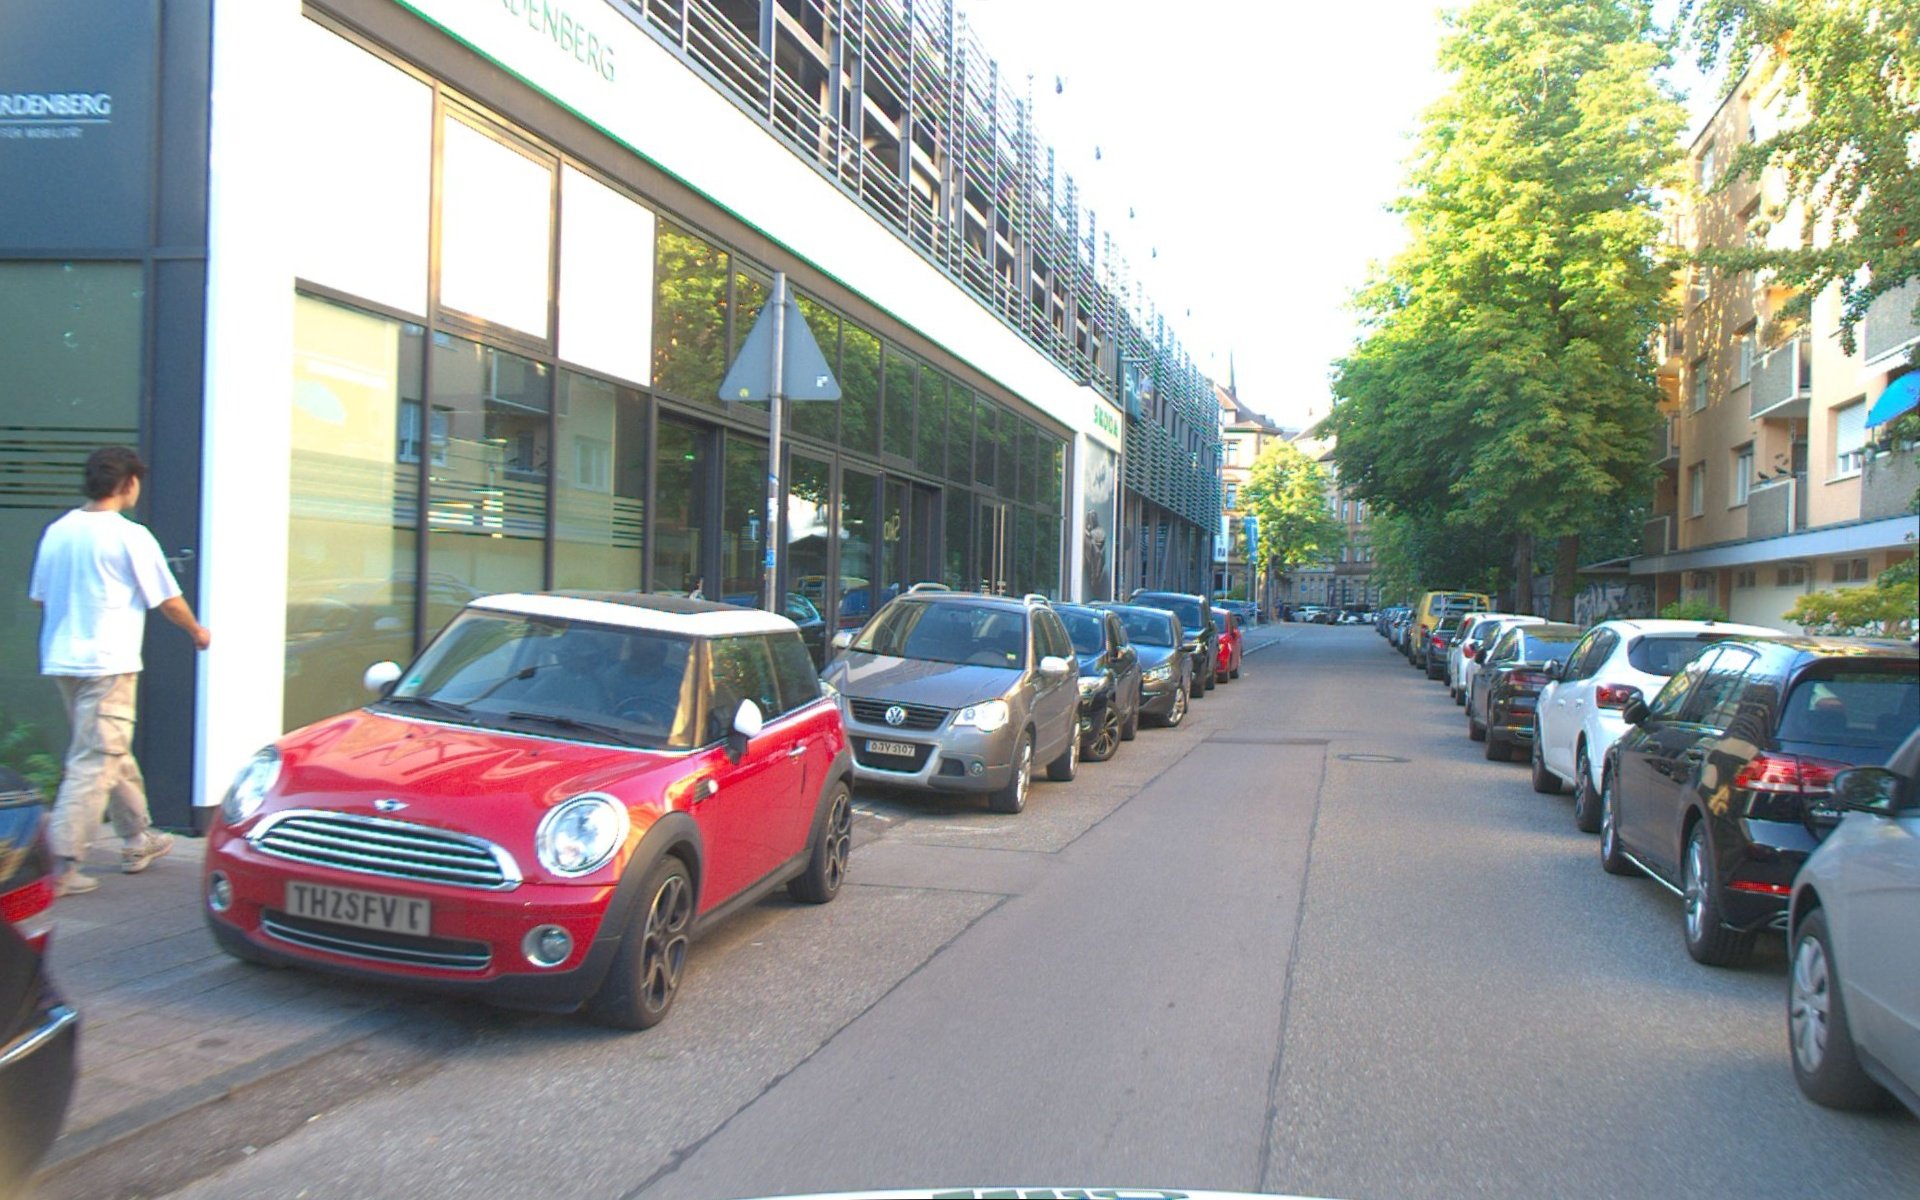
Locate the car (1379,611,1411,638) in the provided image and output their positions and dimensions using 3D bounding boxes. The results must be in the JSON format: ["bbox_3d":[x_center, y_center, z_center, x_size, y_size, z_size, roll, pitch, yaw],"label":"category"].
[{"bbox_3d":[25.056,1.398,95.326,1.659,1.502,4.120,1,0,13],"label":"car"}]

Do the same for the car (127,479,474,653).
[{"bbox_3d":[-7.026,-0.351,18.050,1.661,1.687,3.741,1,0,13],"label":"car"}]

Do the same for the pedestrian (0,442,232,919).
[{"bbox_3d":[-3.611,0.312,7.015,0.705,1.911,0.621,1,1,15],"label":"pedestrian"}]

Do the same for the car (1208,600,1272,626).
[{"bbox_3d":[21.407,1.003,126.558,4.726,1.762,1.922,2,1,8],"label":"car"}]

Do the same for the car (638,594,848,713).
[{"bbox_3d":[-3.019,0.700,23.889,1.661,1.541,3.997,1,0,14],"label":"car"}]

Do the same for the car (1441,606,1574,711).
[{"bbox_3d":[9.278,0.931,28.298,1.753,1.590,4.197,1,0,13],"label":"car"}]

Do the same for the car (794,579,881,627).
[{"bbox_3d":[-3.408,0.059,46.503,1.389,1.277,3.529,1,1,14],"label":"car"}]

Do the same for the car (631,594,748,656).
[{"bbox_3d":[-5.961,0.524,36.756,1.389,1.277,3.217,1,1,14],"label":"car"}]

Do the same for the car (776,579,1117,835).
[{"bbox_3d":[0.065,0.712,13.070,1.627,1.522,3.887,7,1,14],"label":"car"}]

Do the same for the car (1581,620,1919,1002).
[{"bbox_3d":[4.370,0.868,8.499,1.680,1.444,4.031,1,0,13],"label":"car"}]

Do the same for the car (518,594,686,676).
[{"bbox_3d":[-6.900,0.635,32.280,1.661,1.459,3.923,1,0,13],"label":"car"}]

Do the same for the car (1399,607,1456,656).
[{"bbox_3d":[16.423,1.078,58.219,1.685,1.546,4.029,1,1,13],"label":"car"}]

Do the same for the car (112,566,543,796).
[{"bbox_3d":[-5.250,0.592,14.316,1.559,1.679,3.879,1,0,13],"label":"car"}]

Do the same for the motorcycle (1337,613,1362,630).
[{"bbox_3d":[31.198,1.725,132.431,1.891,1.364,0.577,1,1,3],"label":"motorcycle"}]

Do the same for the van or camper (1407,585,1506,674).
[{"bbox_3d":[12.818,0.689,42.980,2.020,2.132,5.095,1,1,12],"label":"van or camper"}]

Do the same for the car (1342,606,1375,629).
[{"bbox_3d":[34.631,1.513,143.792,1.644,1.813,3.007,2,1,-10],"label":"car"}]

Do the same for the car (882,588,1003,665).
[{"bbox_3d":[-0.307,0.523,34.712,1.661,1.499,3.784,1,0,13],"label":"car"}]

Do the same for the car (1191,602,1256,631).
[{"bbox_3d":[17.281,1.074,108.209,4.042,1.646,1.915,3,1,12],"label":"car"}]

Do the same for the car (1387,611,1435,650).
[{"bbox_3d":[18.560,1.238,68.177,1.722,1.467,4.009,1,1,13],"label":"car"}]

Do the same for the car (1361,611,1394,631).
[{"bbox_3d":[35.335,1.784,139.971,1.644,1.552,2.760,2,1,-10],"label":"car"}]

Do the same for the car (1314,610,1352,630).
[{"bbox_3d":[30.656,1.643,136.170,1.624,1.456,3.981,2,1,-10],"label":"car"}]

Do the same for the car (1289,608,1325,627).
[{"bbox_3d":[29.516,1.478,140.826,1.624,1.456,4.160,2,1,-8],"label":"car"}]

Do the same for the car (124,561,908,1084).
[{"bbox_3d":[-1.494,0.667,7.140,1.627,1.434,3.931,6,1,10],"label":"car"}]

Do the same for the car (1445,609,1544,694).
[{"bbox_3d":[10.555,0.975,32.826,1.575,1.537,3.480,1,0,13],"label":"car"}]

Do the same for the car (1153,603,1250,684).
[{"bbox_3d":[5.051,0.858,34.241,1.661,1.532,3.794,1,0,13],"label":"car"}]

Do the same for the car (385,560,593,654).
[{"bbox_3d":[-7.859,0.098,27.956,1.661,1.459,3.923,1,0,13],"label":"car"}]

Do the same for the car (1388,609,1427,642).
[{"bbox_3d":[22.648,1.274,83.783,1.722,1.632,3.876,1,0,13],"label":"car"}]

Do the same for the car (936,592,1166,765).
[{"bbox_3d":[1.091,0.722,17.558,1.693,1.426,4.010,7,2,12],"label":"car"}]

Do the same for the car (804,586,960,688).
[{"bbox_3d":[-1.317,0.613,29.993,1.661,1.687,4.413,1,0,13],"label":"car"}]

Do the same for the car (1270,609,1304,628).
[{"bbox_3d":[28.764,1.622,145.601,1.625,1.456,3.887,2,1,-10],"label":"car"}]

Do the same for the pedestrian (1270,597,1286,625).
[{"bbox_3d":[21.757,0.754,113.145,0.721,1.835,1.120,1,1,-7],"label":"pedestrian"}]

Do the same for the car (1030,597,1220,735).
[{"bbox_3d":[2.351,0.804,22.514,1.896,1.624,4.208,1,1,15],"label":"car"}]

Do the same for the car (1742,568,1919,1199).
[{"bbox_3d":[3.217,0.739,3.796,1.771,1.603,3.888,1,0,13],"label":"car"}]

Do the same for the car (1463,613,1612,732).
[{"bbox_3d":[8.175,0.959,23.683,1.575,1.487,4.057,1,0,13],"label":"car"}]

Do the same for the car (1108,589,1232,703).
[{"bbox_3d":[3.733,0.729,28.836,1.661,1.787,4.407,1,0,13],"label":"car"}]

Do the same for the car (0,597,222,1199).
[{"bbox_3d":[-2.971,0.686,1.694,1.627,1.440,4.417,7,2,12],"label":"car"}]

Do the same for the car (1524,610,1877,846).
[{"bbox_3d":[5.452,0.834,12.679,1.771,1.441,3.899,1,0,14],"label":"car"}]

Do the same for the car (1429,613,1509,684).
[{"bbox_3d":[11.581,1.063,37.794,1.572,1.406,4.003,1,1,15],"label":"car"}]

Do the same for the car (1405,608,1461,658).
[{"bbox_3d":[15.246,1.051,53.394,1.529,1.475,3.456,1,1,13],"label":"car"}]

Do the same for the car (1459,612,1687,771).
[{"bbox_3d":[6.613,0.892,18.295,1.771,1.441,4.629,1,0,13],"label":"car"}]

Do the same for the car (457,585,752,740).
[{"bbox_3d":[-3.921,0.626,19.006,1.661,1.541,4.195,1,0,13],"label":"car"}]
